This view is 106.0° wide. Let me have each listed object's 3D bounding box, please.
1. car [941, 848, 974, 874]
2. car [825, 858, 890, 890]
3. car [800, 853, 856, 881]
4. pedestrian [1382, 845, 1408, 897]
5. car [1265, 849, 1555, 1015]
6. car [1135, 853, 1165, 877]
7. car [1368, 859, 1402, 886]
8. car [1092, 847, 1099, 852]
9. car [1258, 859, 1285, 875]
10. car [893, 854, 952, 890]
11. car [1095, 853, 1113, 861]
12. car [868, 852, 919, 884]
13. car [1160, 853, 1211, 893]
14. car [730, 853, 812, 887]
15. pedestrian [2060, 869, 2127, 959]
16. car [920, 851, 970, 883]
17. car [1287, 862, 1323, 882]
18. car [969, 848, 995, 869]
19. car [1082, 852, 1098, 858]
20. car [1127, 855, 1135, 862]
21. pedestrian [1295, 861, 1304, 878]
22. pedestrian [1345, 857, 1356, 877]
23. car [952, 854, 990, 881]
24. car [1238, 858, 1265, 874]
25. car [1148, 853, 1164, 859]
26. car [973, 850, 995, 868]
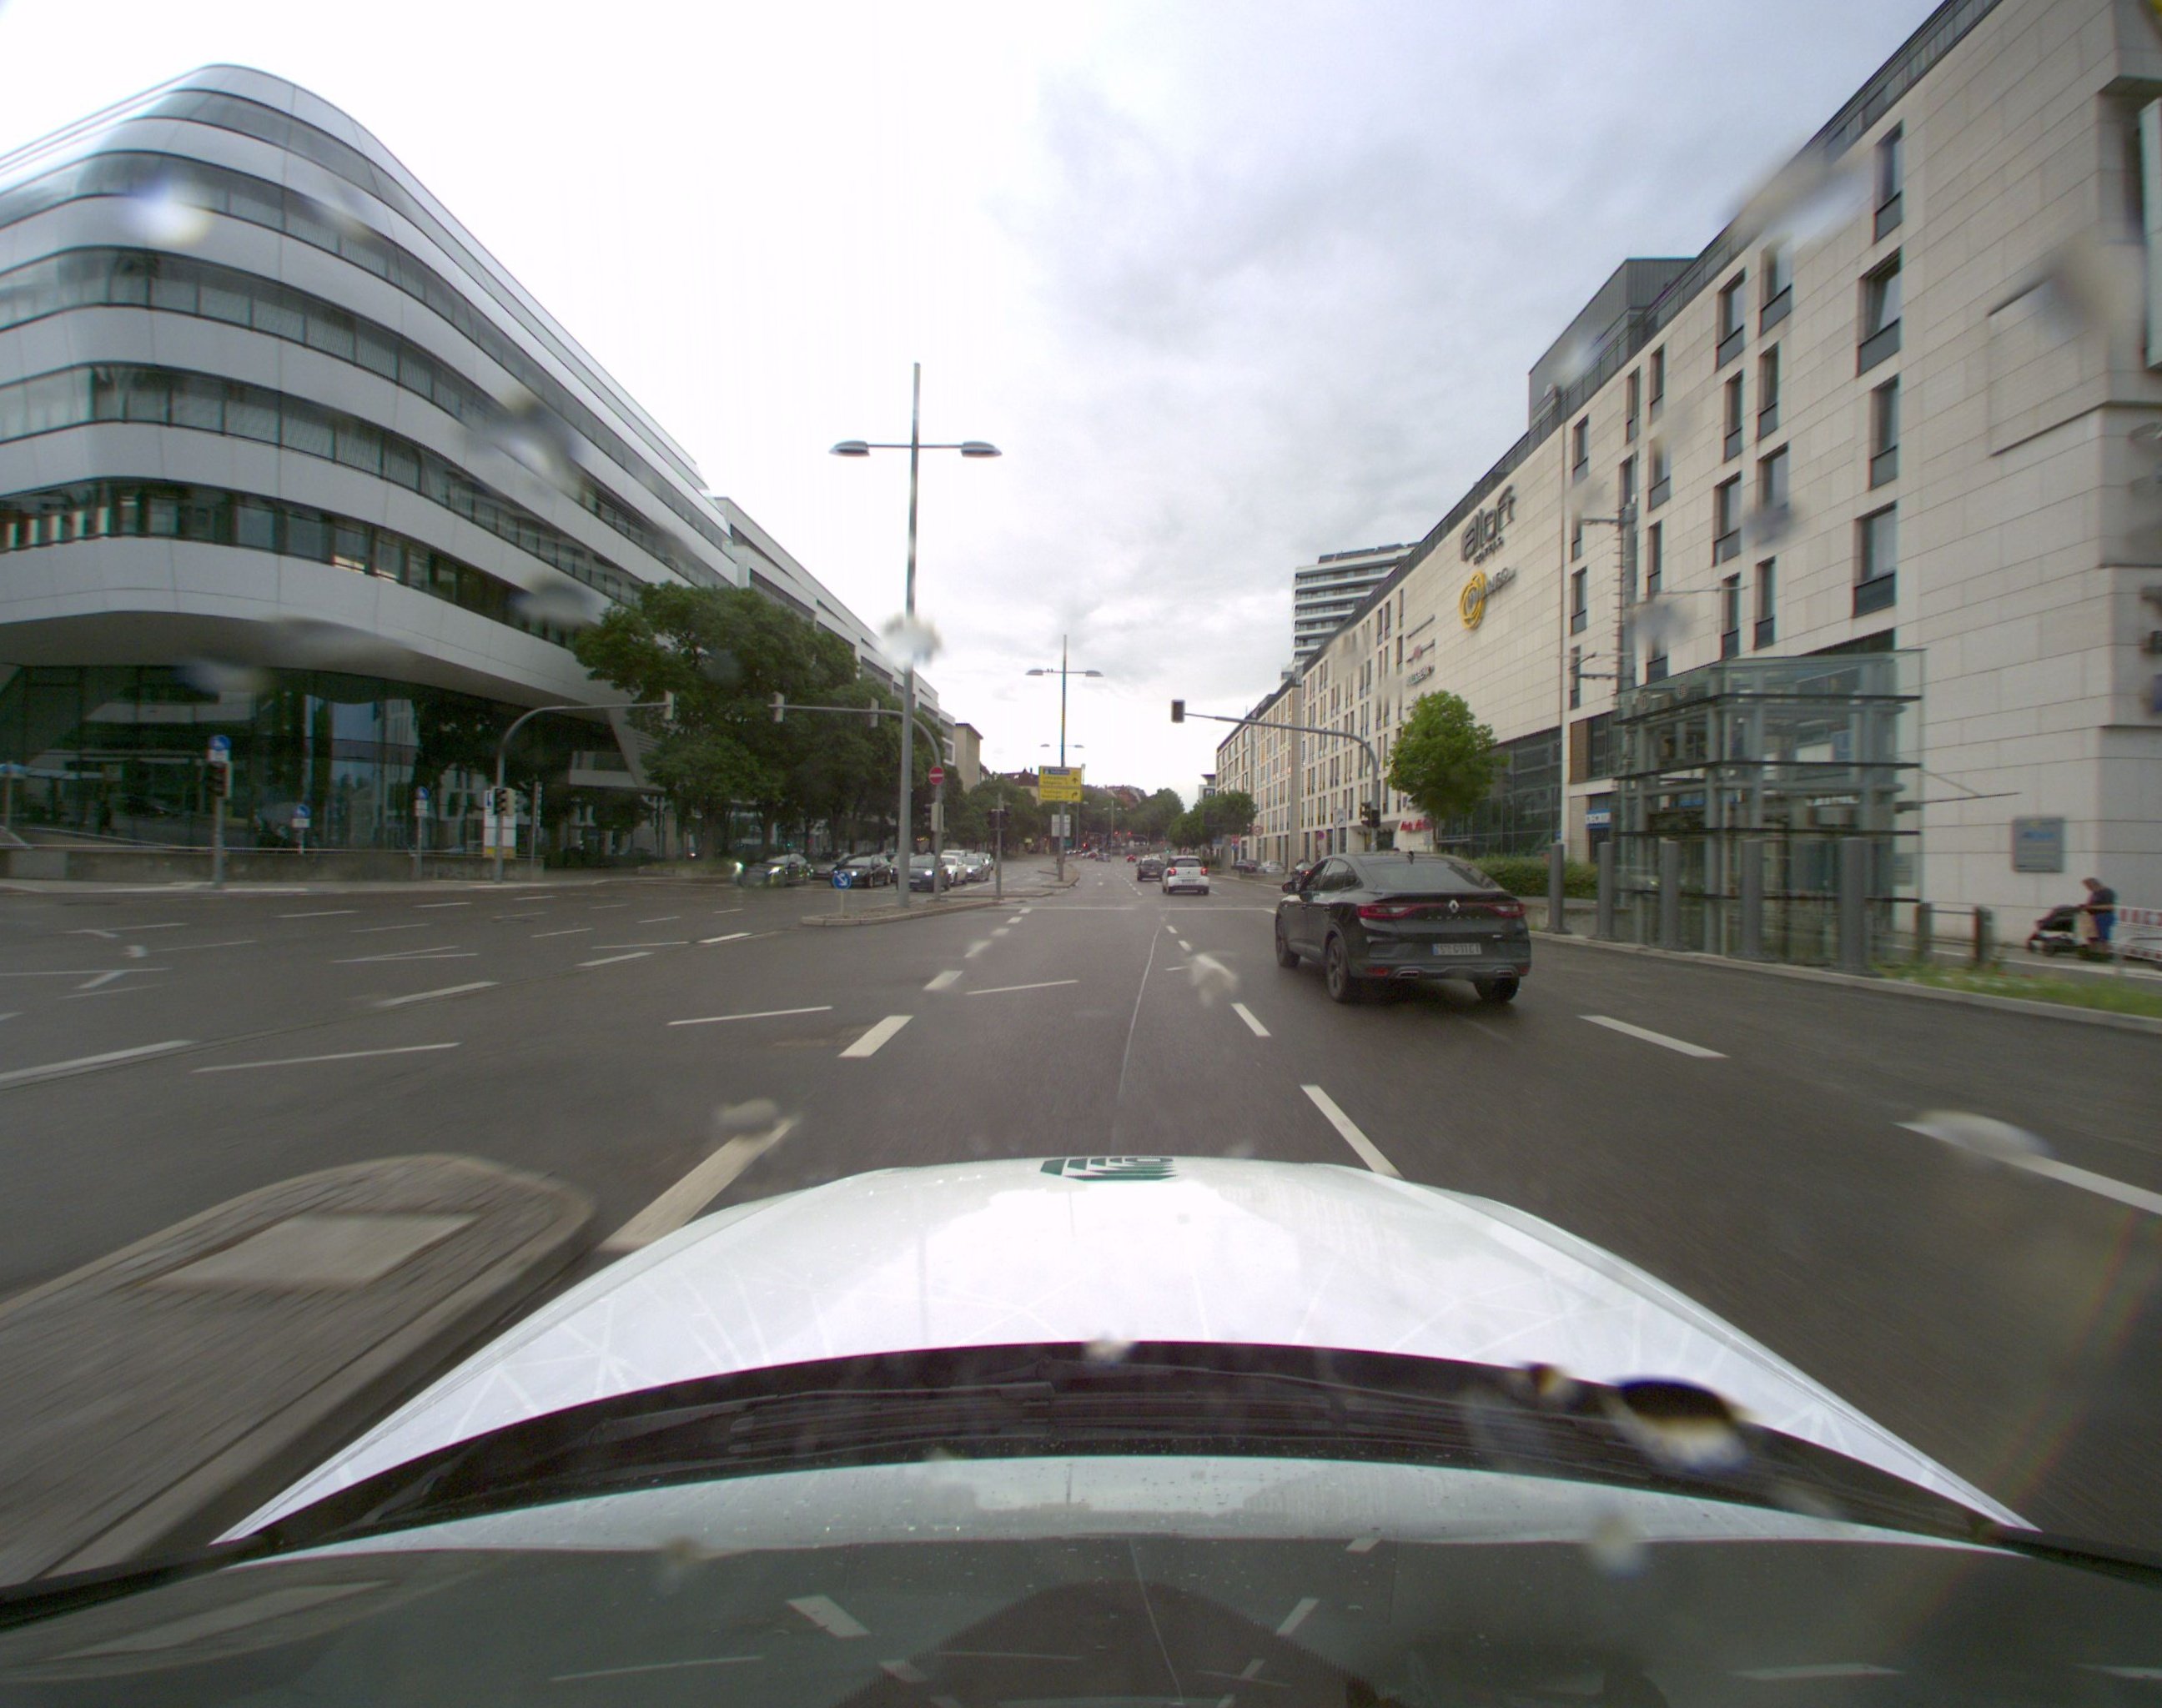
[{"bbox_3d":[-8.790,0.505,58.327,1.736,1.748,3.541,0,-1,2],"label":"car"},{"bbox_3d":[-9.758,0.862,35.816,1.737,1.257,3.541,1,1,2],"label":"car"},{"bbox_3d":[-13.233,0.668,42.757,1.736,1.424,3.541,0,-1,2],"label":"car"},{"bbox_3d":[11.032,0.591,28.604,0.724,1.832,0.510,0,-1,1],"label":"pedestrian"},{"bbox_3d":[3.506,0.704,9.638,1.784,1.506,4.340,0,1,1],"label":"car"},{"bbox_3d":[4.373,0.704,52.359,1.733,1.531,3.815,0,-1,2],"label":"car"},{"bbox_3d":[14.804,0.867,39.793,1.494,1.266,3.519,0,-1,19],"label":"car"},{"bbox_3d":[4.338,-1.314,247.257,1.730,1.531,3.823,0,0,9],"label":"car"},{"bbox_3d":[15.526,1.083,66.589,1.500,1.266,3.503,0,-1,2],"label":"car"},{"bbox_3d":[-6.667,0.763,34.628,1.737,1.444,3.396,0,-1,2],"label":"car"},{"bbox_3d":[4.653,0.604,164.159,1.754,1.531,3.771,0,0,-37],"label":"car"},{"bbox_3d":[-9.737,0.722,42.554,1.736,1.559,3.541,0,-1,2],"label":"car"},{"bbox_3d":[4.199,0.739,33.149,1.718,1.531,3.815,0,-1,2],"label":"car"},{"bbox_3d":[-12.929,0.657,34.248,1.736,1.328,4.227,0,-1,2],"label":"car"},{"bbox_3d":[19.124,1.114,15.394,0.588,1.642,0.591,-1,-1,26],"label":"pedestrian"},{"bbox_3d":[-6.768,0.645,40.917,1.696,1.559,4.246,0,-1,2],"label":"car"},{"bbox_3d":[14.485,1.164,52.776,1.500,1.266,3.503,0,-1,2],"label":"car"},{"bbox_3d":[-8.707,0.400,72.028,1.736,1.748,3.541,0,-1,2],"label":"car"},{"bbox_3d":[2.336,0.344,206.014,3.801,1.531,1.740,0,0,-10],"label":"car"},{"bbox_3d":[10.604,0.896,173.425,1.733,1.531,3.815,0,-1,2],"label":"car"},{"bbox_3d":[19.904,1.376,74.240,0.671,1.528,0.727,0,-1,1],"label":"pedestrian"},{"bbox_3d":[21.269,1.029,64.311,0.671,1.528,0.727,0,-1,1],"label":"pedestrian"},{"bbox_3d":[-6.292,0.774,46.882,1.532,1.477,3.697,0,-1,2],"label":"car"},{"bbox_3d":[15.038,1.083,72.043,1.655,1.400,3.834,0,-1,2],"label":"car"},{"bbox_3d":[18.877,0.468,205.144,3.778,1.531,1.750,0,0,10],"label":"car"},{"bbox_3d":[-9.901,0.542,83.411,1.736,1.748,3.541,0,-1,2],"label":"car"}]
